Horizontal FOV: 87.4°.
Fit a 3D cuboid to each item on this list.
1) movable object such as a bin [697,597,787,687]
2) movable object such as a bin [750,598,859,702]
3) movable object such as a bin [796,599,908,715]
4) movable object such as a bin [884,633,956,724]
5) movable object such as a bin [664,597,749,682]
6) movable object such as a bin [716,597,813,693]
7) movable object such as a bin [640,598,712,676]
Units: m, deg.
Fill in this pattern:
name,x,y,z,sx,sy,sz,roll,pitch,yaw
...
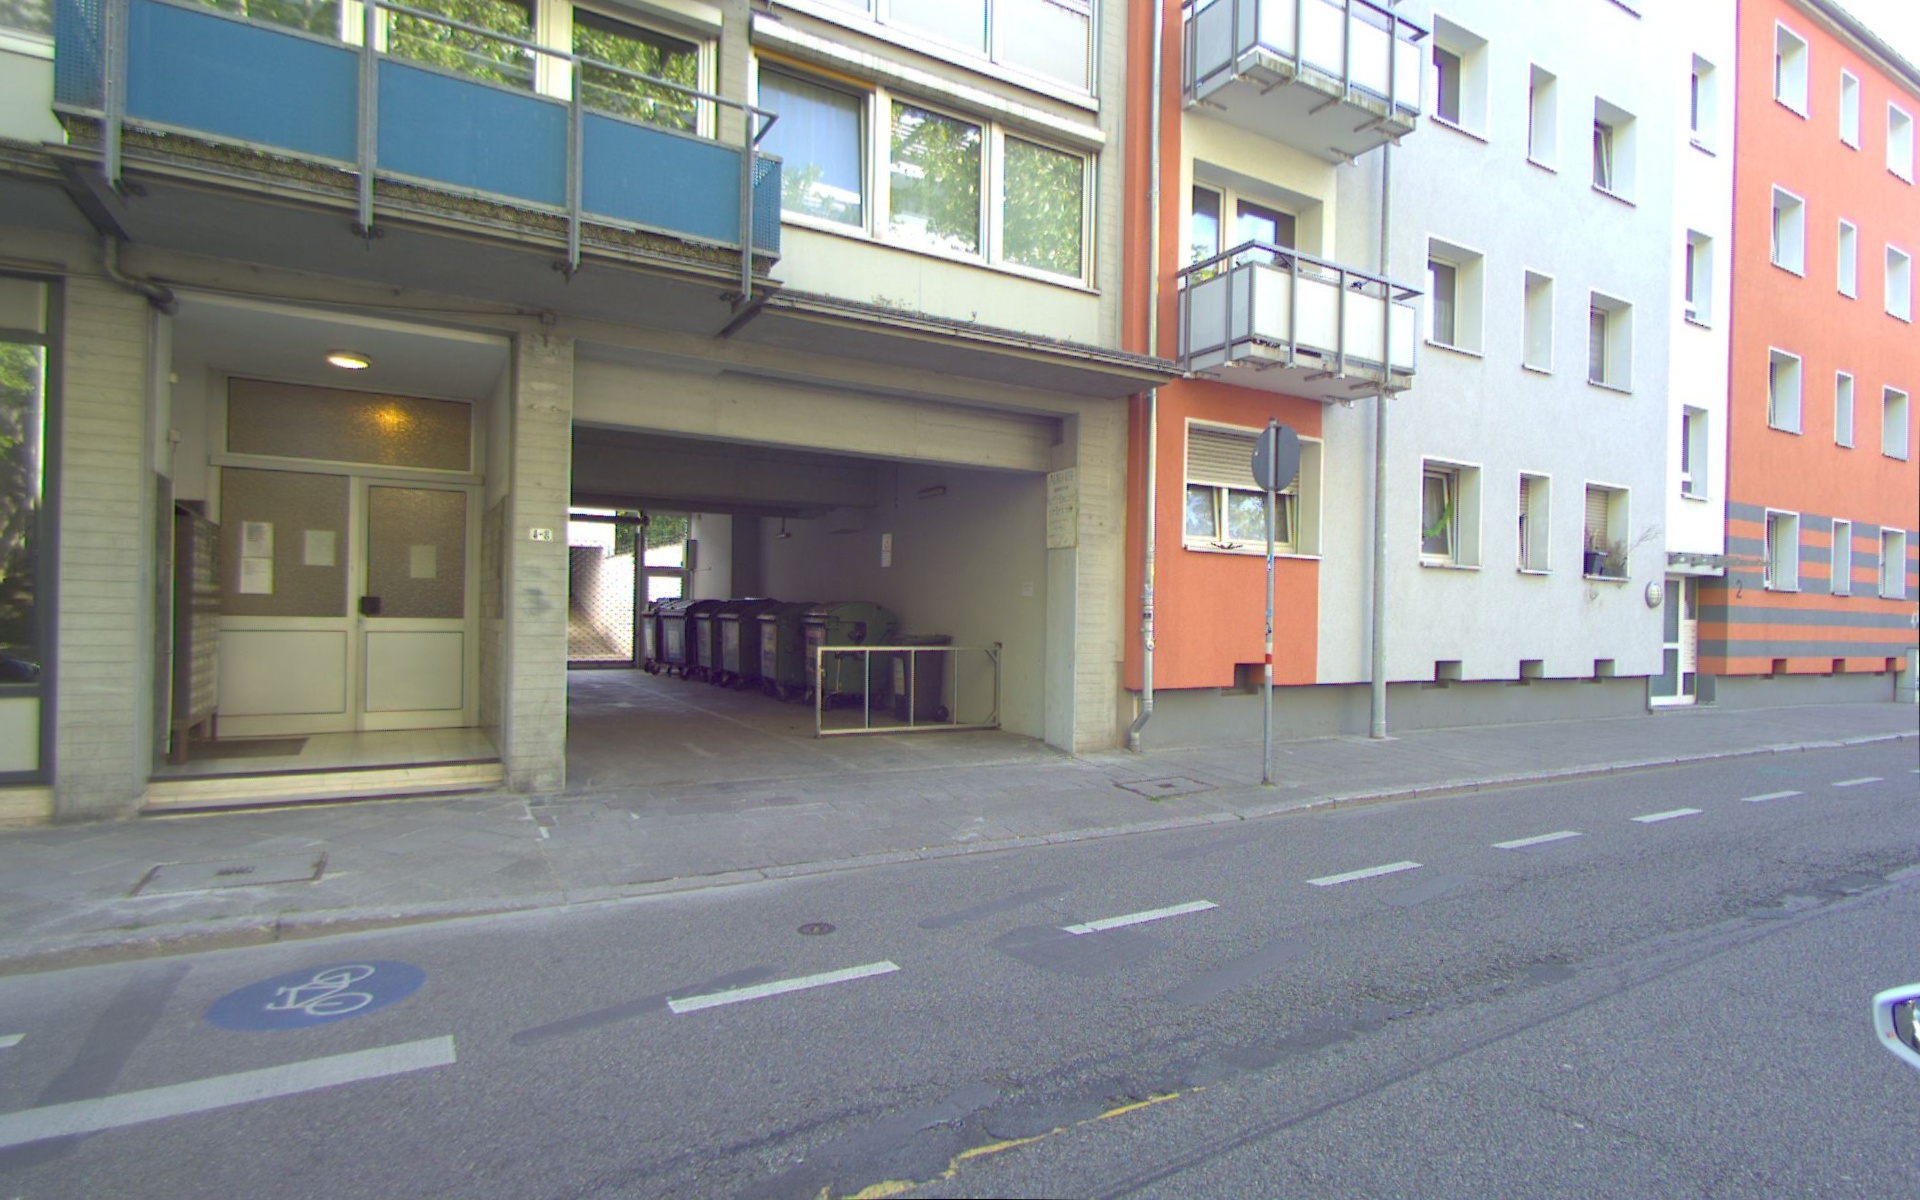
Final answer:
name,x,y,z,sx,sy,sz,roll,pitch,yaw
movable object such as a bin,-3.867,0.728,17.765,1.264,1.515,1.155,2,0,-28
movable object such as a bin,-2.367,0.735,15.180,1.264,1.493,1.265,2,-1,-28
movable object such as a bin,-1.501,0.755,13.827,1.128,1.484,1.255,2,0,-28
movable object such as a bin,-0.502,0.961,12.474,0.694,1.061,0.567,2,0,-28
movable object such as a bin,-4.732,0.720,18.708,1.264,1.506,1.155,2,0,-28
movable object such as a bin,-3.264,0.726,16.716,1.264,1.506,1.155,2,0,-28
movable object such as a bin,-5.651,0.730,19.963,1.128,1.484,1.129,2,0,-28
